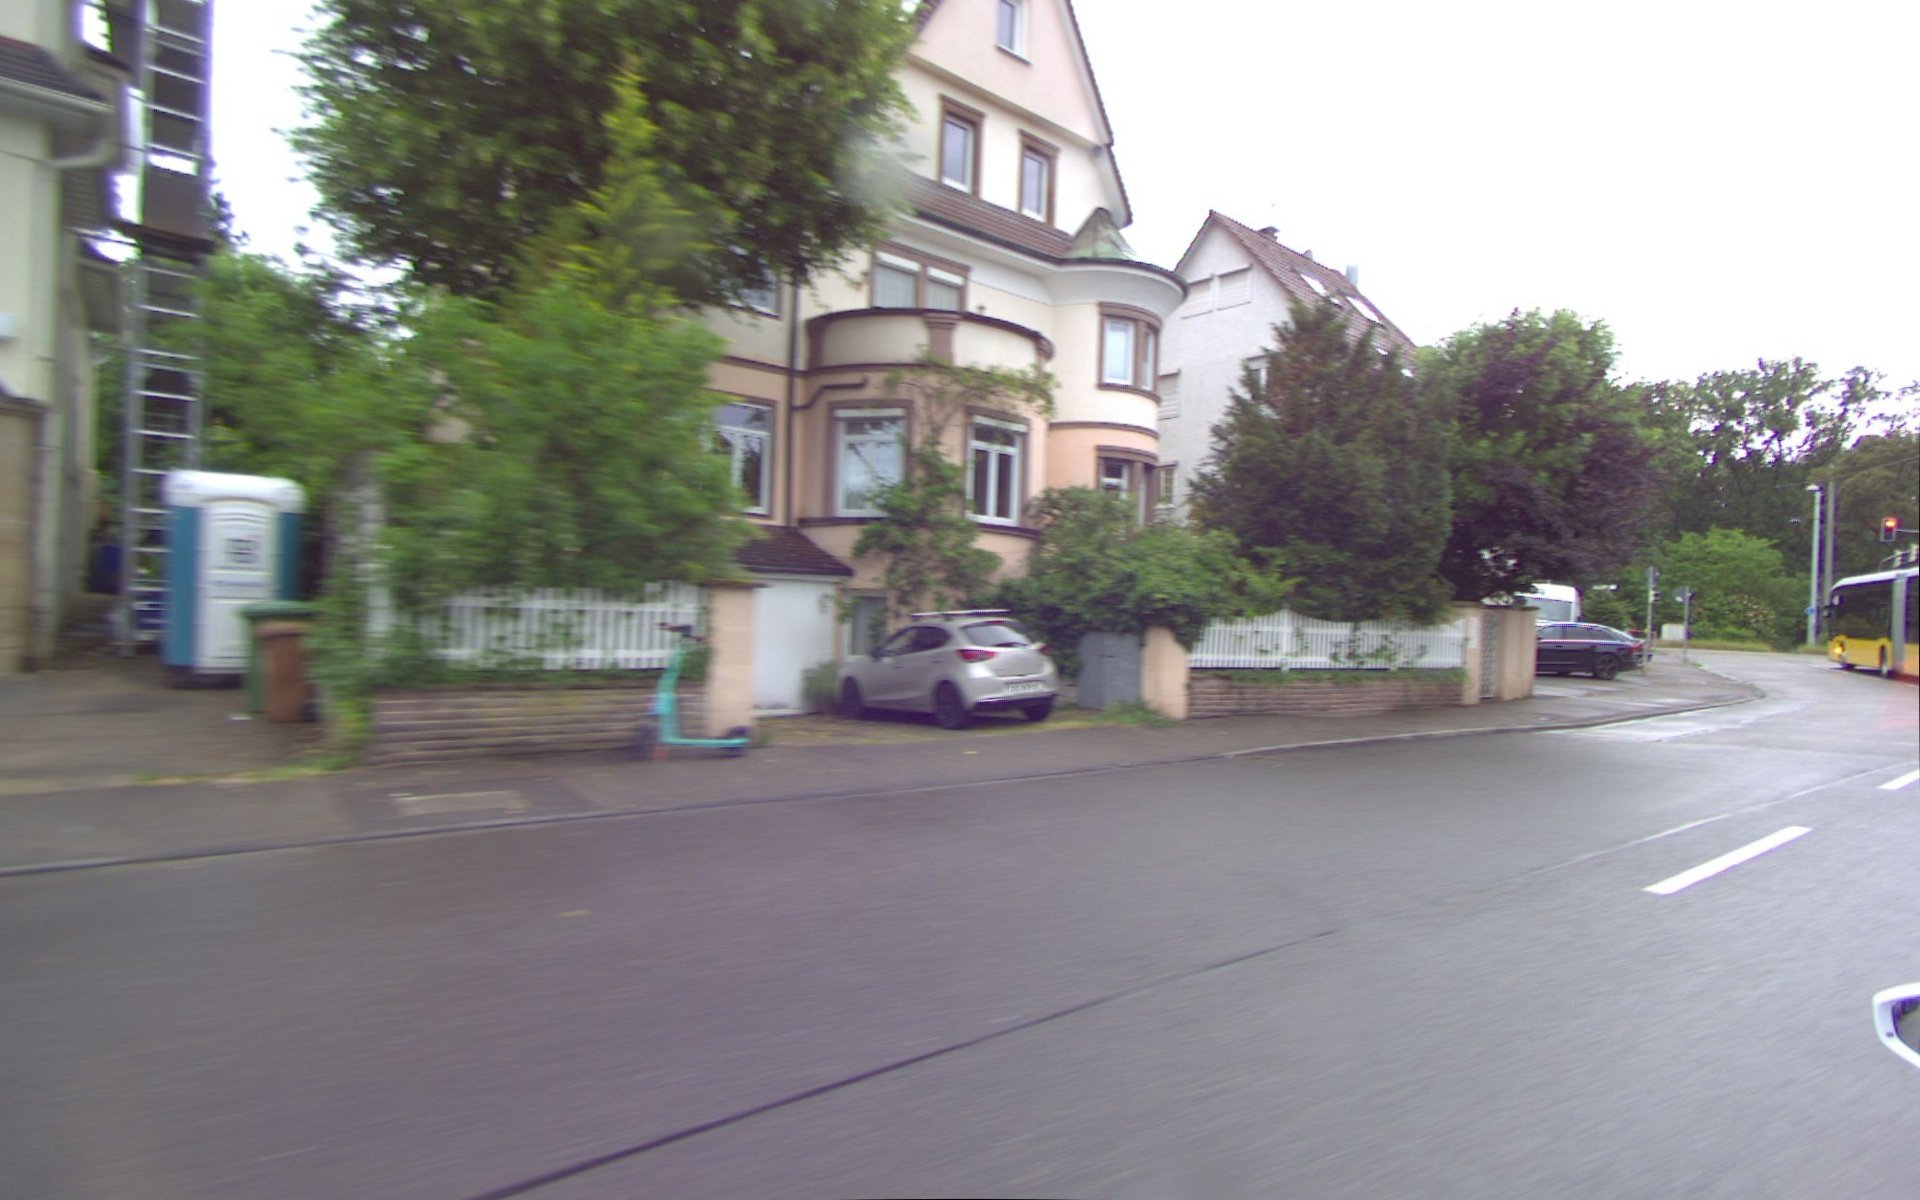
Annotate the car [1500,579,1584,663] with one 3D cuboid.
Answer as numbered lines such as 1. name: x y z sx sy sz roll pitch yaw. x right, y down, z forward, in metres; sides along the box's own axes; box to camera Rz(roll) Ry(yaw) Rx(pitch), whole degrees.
1. car: 19.279 0.653 33.163 1.966 2.480 5.478 3 1 34

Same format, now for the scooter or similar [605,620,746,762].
1. scooter or similar: -2.573 0.803 9.117 1.129 1.204 0.399 2 1 -34

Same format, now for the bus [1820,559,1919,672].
1. bus: 32.003 0.531 34.138 2.859 3.444 9.017 2 0 32

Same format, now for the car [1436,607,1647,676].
1. car: 15.550 1.090 26.996 4.593 1.515 1.803 3 2 -3

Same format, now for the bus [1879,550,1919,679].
1. bus: 27.130 0.414 26.675 2.640 3.444 8.655 2 0 34

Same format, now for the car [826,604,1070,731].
1. car: -0.278 0.866 14.486 1.695 1.561 3.553 -1 0 -39

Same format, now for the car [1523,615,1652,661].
1. car: 23.462 1.388 37.709 3.756 1.362 1.803 4 2 23
